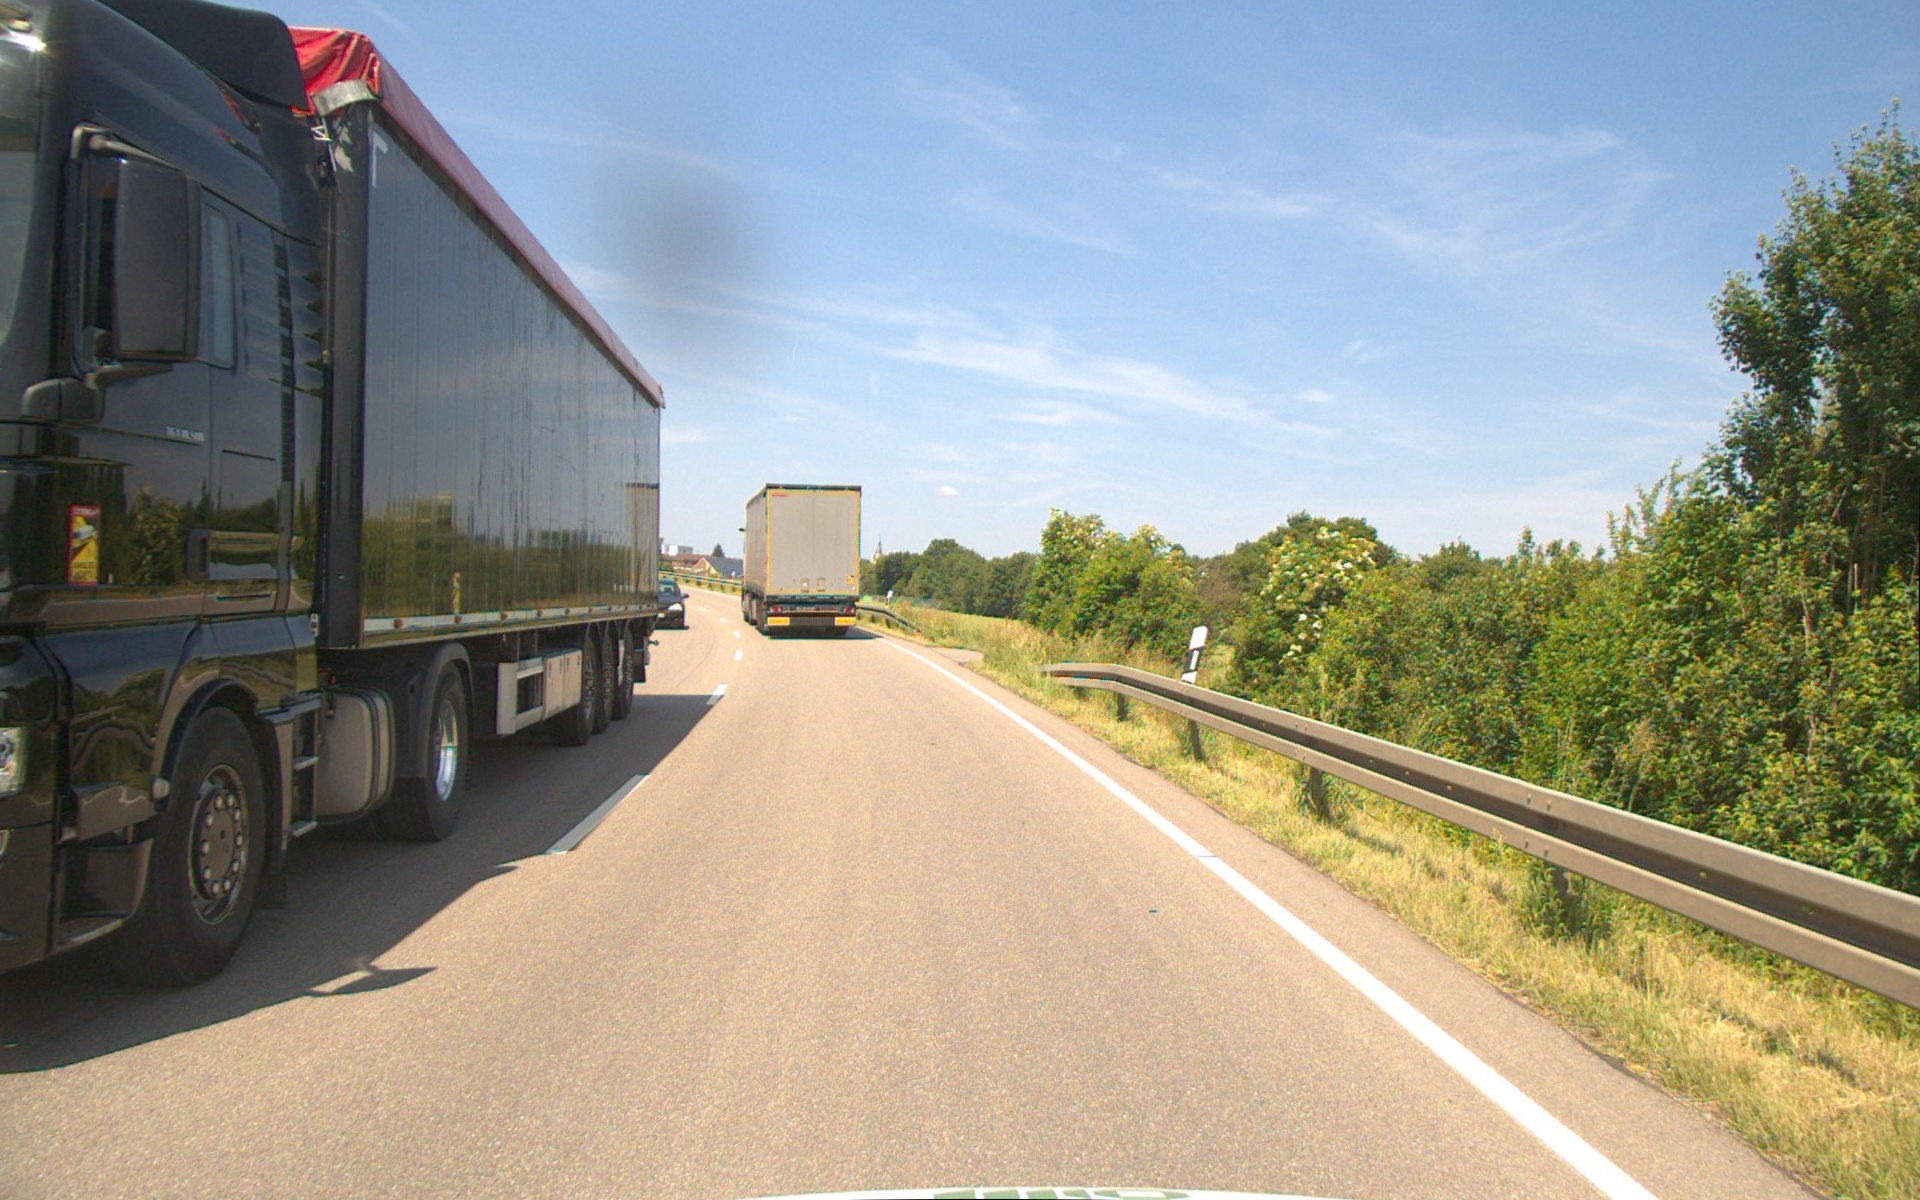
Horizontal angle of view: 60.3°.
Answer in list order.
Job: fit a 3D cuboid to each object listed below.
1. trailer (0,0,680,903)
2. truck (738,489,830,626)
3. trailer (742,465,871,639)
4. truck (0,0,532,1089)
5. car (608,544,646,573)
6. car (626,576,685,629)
[{"bbox_3d":[-4.783,-0.806,14.602,3.177,4.222,14.431,1,0,-4],"label":"trailer"},{"bbox_3d":[-6.114,-1.398,56.930,2.807,4.477,5.059,1,0,-10],"label":"truck"},{"bbox_3d":[-4.885,-1.352,49.880,2.815,4.477,13.462,1,1,-10],"label":"trailer"},{"bbox_3d":[-4.320,-0.729,8.002,3.177,4.222,6.646,1,0,-4],"label":"truck"},{"bbox_3d":[-22.901,-2.808,113.576,1.702,1.905,3.971,2,0,-24],"label":"car"},{"bbox_3d":[-9.288,0.043,50.636,1.668,1.495,4.192,0,2,-9],"label":"car"}]
